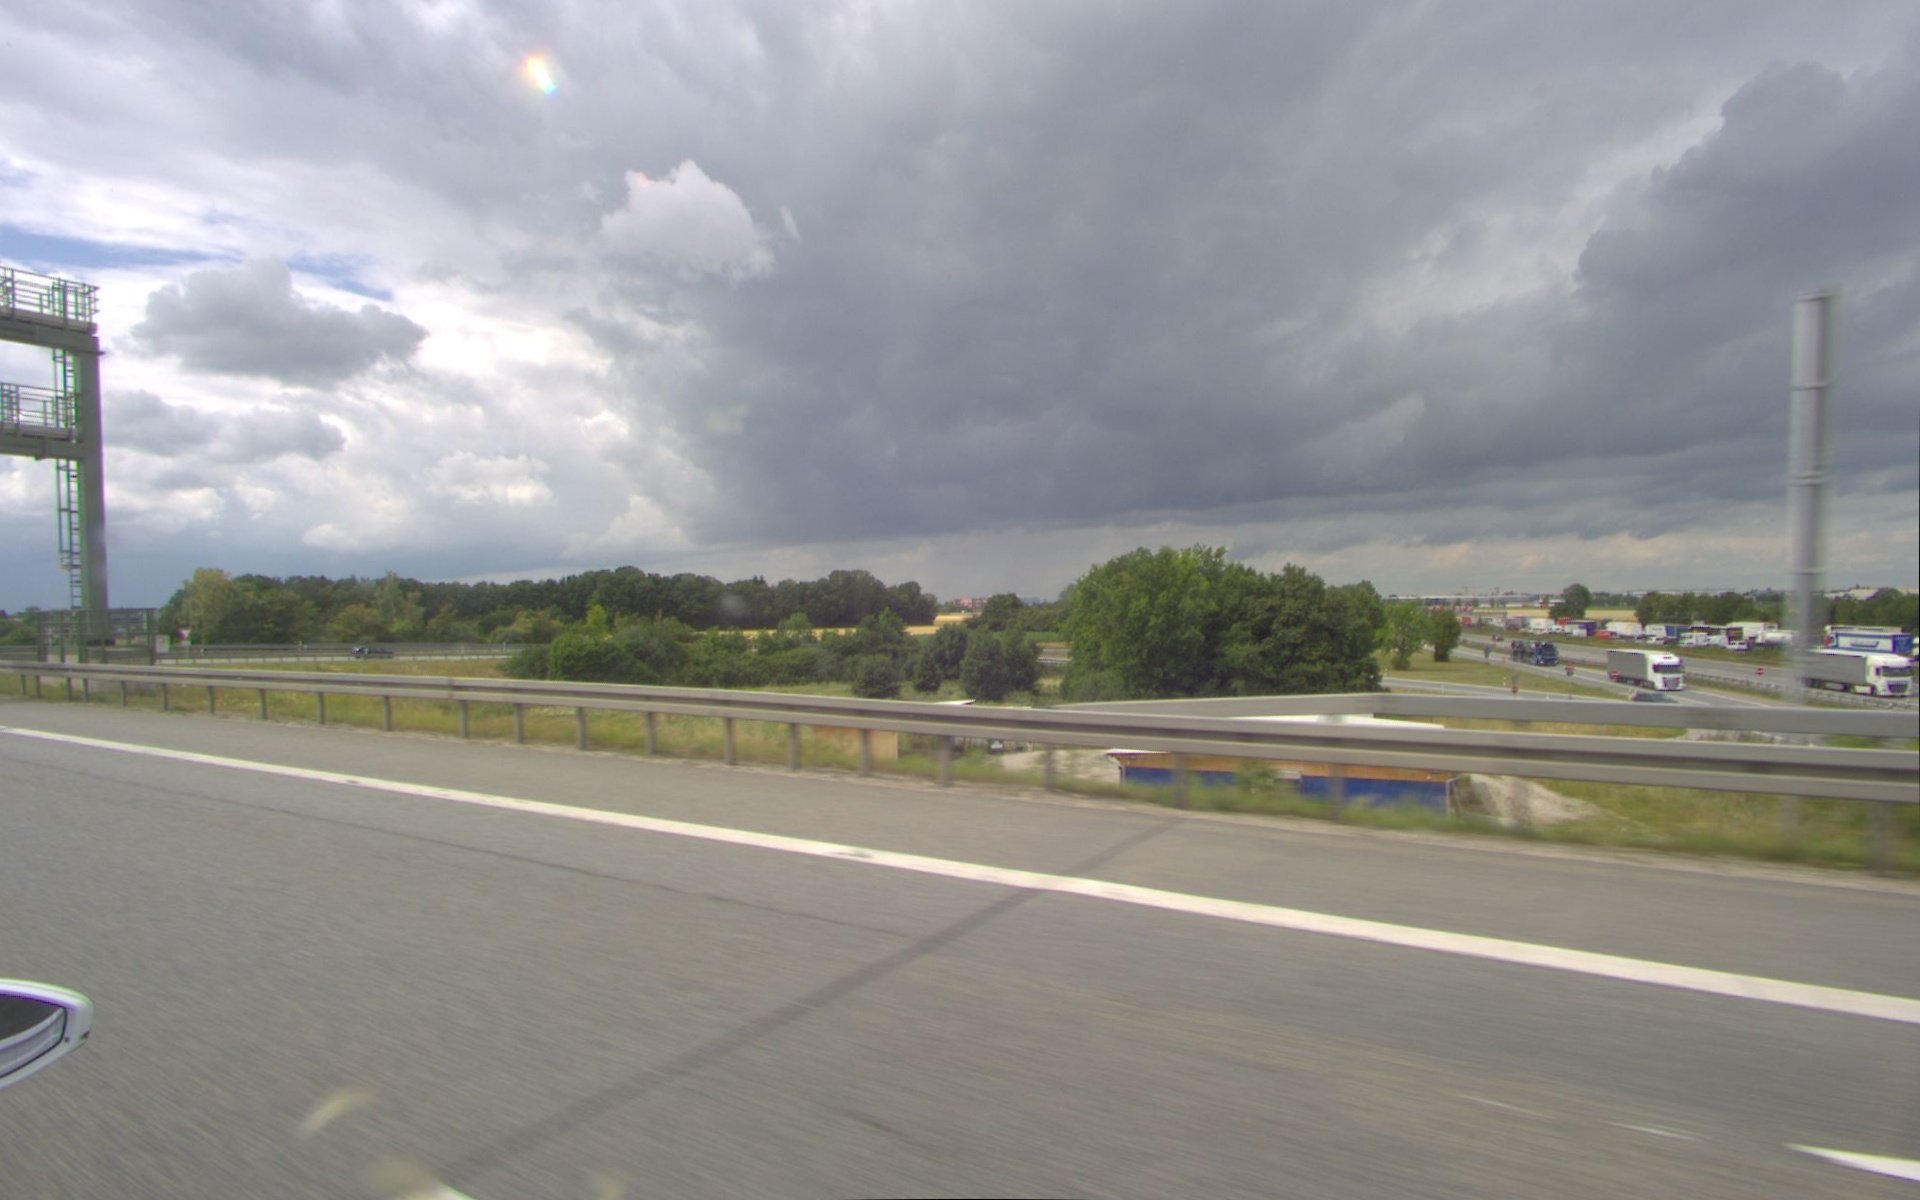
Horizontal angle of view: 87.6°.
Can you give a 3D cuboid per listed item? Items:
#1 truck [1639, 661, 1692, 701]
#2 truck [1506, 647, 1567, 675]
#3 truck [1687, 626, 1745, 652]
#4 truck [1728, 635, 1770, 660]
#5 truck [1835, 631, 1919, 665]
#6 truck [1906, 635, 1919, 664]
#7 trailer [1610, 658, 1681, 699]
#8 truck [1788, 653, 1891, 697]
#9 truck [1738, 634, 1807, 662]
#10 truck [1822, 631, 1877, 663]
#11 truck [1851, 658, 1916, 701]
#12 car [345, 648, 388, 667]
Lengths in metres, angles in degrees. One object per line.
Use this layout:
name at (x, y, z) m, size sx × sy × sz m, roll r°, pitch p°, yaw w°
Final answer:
truck at (79.708, 9.055, 113.281) m, size 2.936 × 4.152 × 6.521 m, roll 0°, pitch -1°, yaw 17°
truck at (95.427, 9.925, 166.132) m, size 3.921 × 4.111 × 19.033 m, roll 0°, pitch -2°, yaw 15°
truck at (153.109, 7.862, 203.100) m, size 4.011 × 4.882 × 15.340 m, roll 0°, pitch -2°, yaw 16°
truck at (148.427, 8.871, 188.386) m, size 3.998 × 4.556 × 6.492 m, roll 1°, pitch -1°, yaw 16°
truck at (139.962, 7.188, 152.625) m, size 4.011 × 4.882 × 14.476 m, roll 0°, pitch -2°, yaw 15°
truck at (136.501, 6.986, 139.766) m, size 4.059 × 4.063 × 6.491 m, roll 1°, pitch -2°, yaw 18°
trailer at (81.785, 9.240, 119.836) m, size 2.936 × 4.152 × 14.232 m, roll 0°, pitch -1°, yaw 17°
truck at (91.417, 7.663, 104.472) m, size 2.451 × 3.727 × 13.125 m, roll 1°, pitch 0°, yaw 15°
truck at (146.235, 8.528, 180.532) m, size 4.011 × 4.882 × 15.340 m, roll 0°, pitch -2°, yaw 16°
truck at (141.858, 7.476, 159.768) m, size 3.997 × 4.799 × 6.493 m, roll 1°, pitch -1°, yaw 15°
truck at (89.387, 7.654, 97.028) m, size 2.451 × 3.727 × 5.160 m, roll 1°, pitch 0°, yaw 15°
car at (-68.239, 6.656, 115.206) m, size 1.750 × 2.037 × 4.001 m, roll 1°, pitch -4°, yaw 15°
